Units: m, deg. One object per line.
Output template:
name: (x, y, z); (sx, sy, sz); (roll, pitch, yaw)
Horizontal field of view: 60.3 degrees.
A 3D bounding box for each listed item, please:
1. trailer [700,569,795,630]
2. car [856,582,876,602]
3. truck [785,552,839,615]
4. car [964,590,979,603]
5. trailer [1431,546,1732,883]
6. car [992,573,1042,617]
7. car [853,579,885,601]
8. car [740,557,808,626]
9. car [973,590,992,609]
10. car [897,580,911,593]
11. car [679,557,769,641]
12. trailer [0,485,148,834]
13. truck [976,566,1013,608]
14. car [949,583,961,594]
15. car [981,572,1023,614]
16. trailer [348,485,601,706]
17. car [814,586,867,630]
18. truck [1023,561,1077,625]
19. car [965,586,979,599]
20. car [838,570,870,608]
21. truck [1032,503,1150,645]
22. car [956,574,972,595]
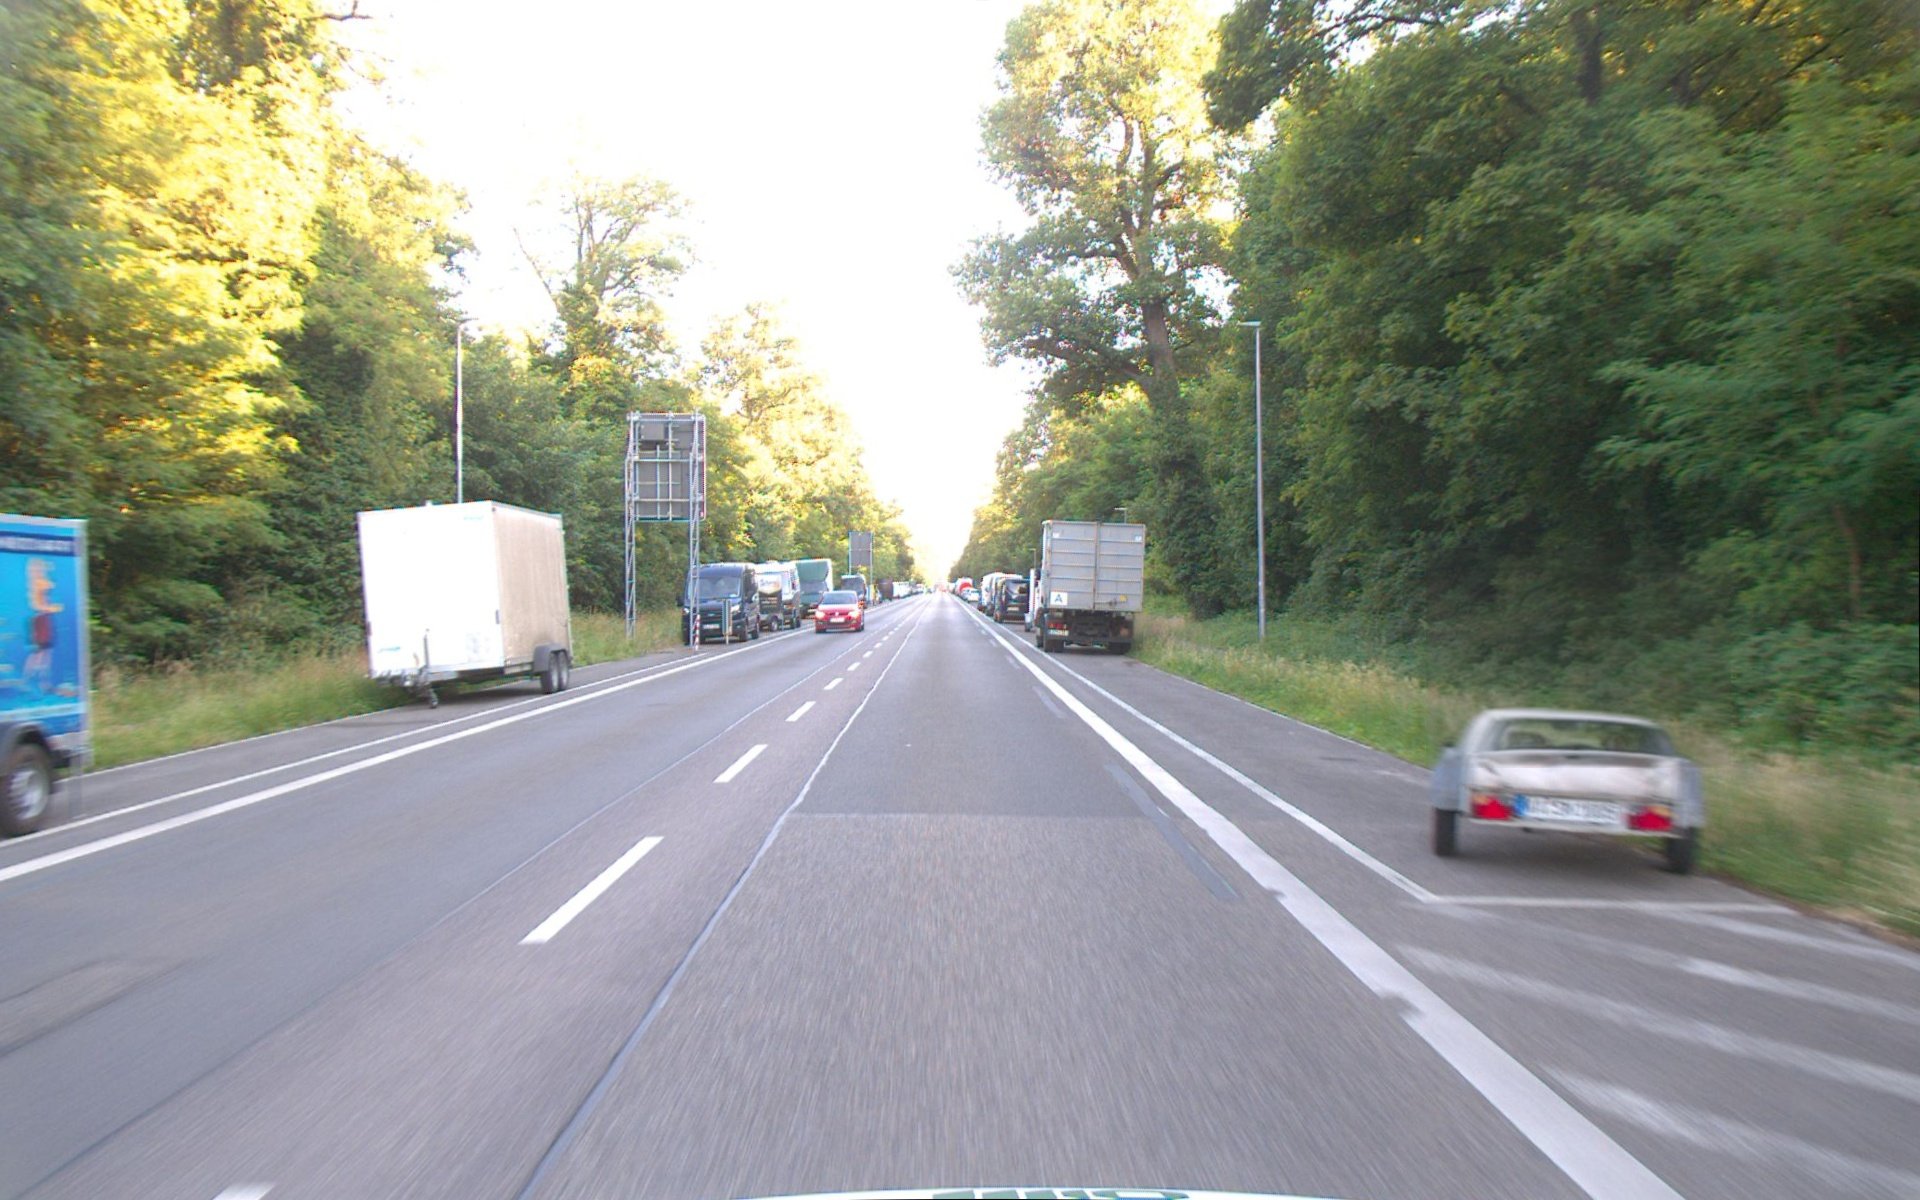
trailer: (-8.072, -0.051, 63.160); (1.922, 2.192, 3.931); (-1, 1, 20)
car: (-8.520, -0.748, 150.185); (1.736, 1.701, 3.998); (1, 1, -3)
truck: (-8.329, -0.966, 93.921); (2.453, 3.387, 6.840); (-2, 1, -1)
car: (1.293, -0.416, 190.948); (1.612, 1.512, 3.999); (1, 1, -1)
trailer: (3.746, 0.561, 10.320); (1.425, 1.691, 3.779); (-1, 0, 17)
car: (2.601, -0.232, 76.490); (1.954, 1.989, 4.297); (1, 0, -3)
car: (-8.704, -0.977, 158.596); (1.664, 2.049, 4.002); (1, 1, 18)
car: (-7.673, -0.378, 68.694); (2.203, 2.694, 5.720); (-2, 1, -1)
car: (1.547, -0.063, 114.703); (1.124, 1.273, 2.752); (-1, 0, -3)
car: (-8.784, -2.102, 258.639); (1.953, 2.049, 4.000); (-1, 1, 0)
car: (-7.382, -0.059, 52.273); (1.953, 2.405, 5.765); (-3, 1, -1)
trailer: (-6.960, 0.396, 10.318); (1.780, 2.205, 4.142); (-1, 1, -2)
truck: (2.255, -0.869, 108.836); (2.099, 2.706, 4.297); (1, 0, -3)
car: (-0.721, -1.637, 238.260); (1.612, 1.512, 3.594); (1, 1, -1)
car: (2.393, -0.390, 95.742); (2.099, 2.354, 4.297); (1, 0, -3)
trailer: (-7.369, -0.093, 25.838); (2.279, 2.975, 5.625); (-3, 1, -1)
car: (-4.292, 0.269, 59.961); (1.648, 1.512, 4.037); (-1, 1, -1)
truck: (3.353, -0.263, 62.001); (1.846, 2.323, 4.300); (1, 0, 1)
car: (1.247, -0.803, 173.711); (1.398, 1.243, 3.411); (-3, 1, -1)
car: (-8.223, -0.848, 128.907); (2.142, 2.837, 5.333); (-2, 1, -1)
truck: (3.245, -0.625, 42.590); (2.535, 3.312, 7.221); (1, 0, 1)
car: (0.621, -2.387, 255.642); (2.267, 3.147, 5.638); (1, 0, -1)
